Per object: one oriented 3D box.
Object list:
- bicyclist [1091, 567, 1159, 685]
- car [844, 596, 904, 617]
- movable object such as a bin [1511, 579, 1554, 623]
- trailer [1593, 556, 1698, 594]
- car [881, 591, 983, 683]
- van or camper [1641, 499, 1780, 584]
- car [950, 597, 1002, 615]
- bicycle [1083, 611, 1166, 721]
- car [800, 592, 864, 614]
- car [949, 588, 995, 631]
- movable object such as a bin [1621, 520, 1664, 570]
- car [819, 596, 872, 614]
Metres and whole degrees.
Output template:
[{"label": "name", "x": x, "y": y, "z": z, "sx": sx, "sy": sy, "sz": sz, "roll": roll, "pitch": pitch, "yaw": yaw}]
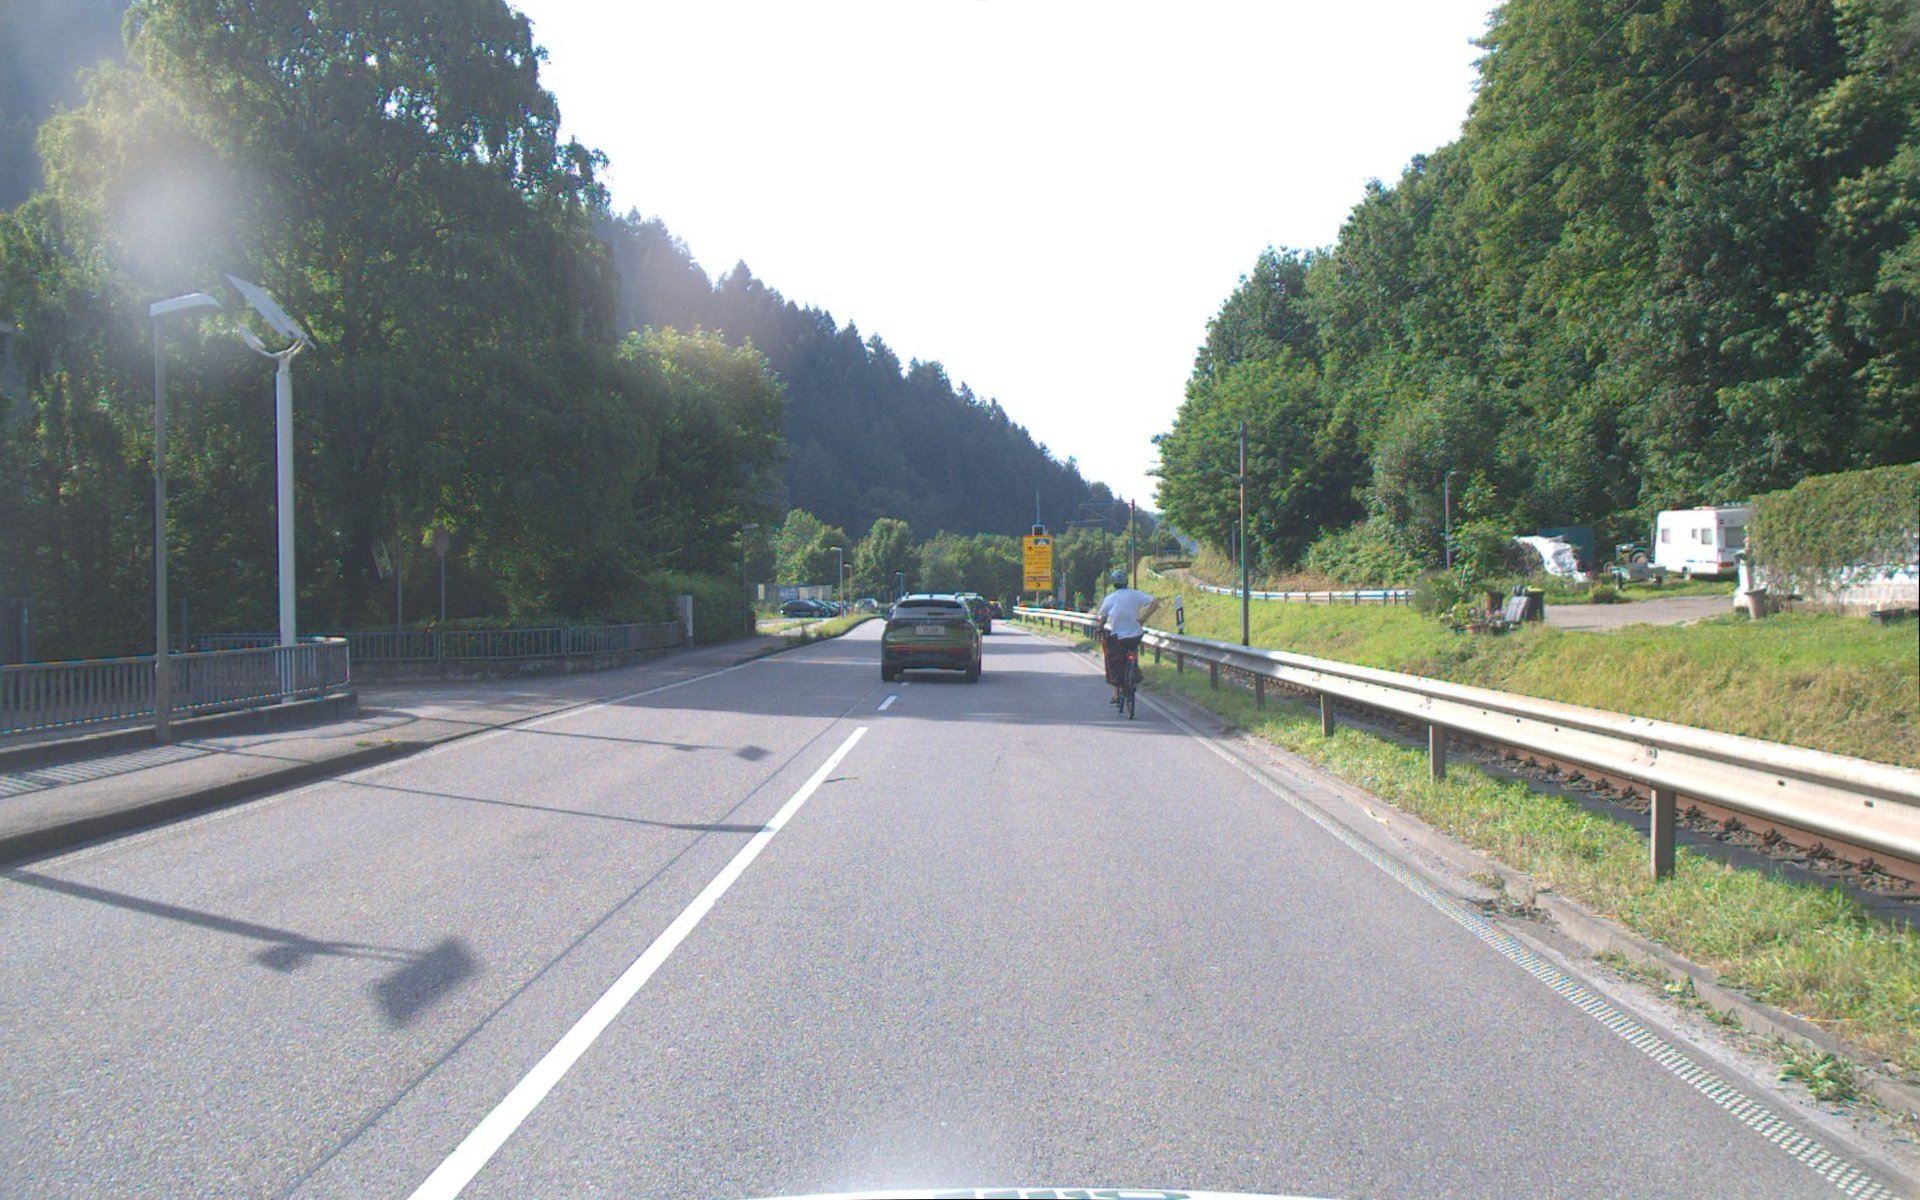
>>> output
[{"label": "bicyclist", "x": 2.046, "y": 0.322, "z": 20.573, "sx": 0.766, "sy": 1.436, "sz": 0.675, "roll": 0, "pitch": 0, "yaw": -1}, {"label": "car", "x": -6.127, "y": 0.429, "z": 117.836, "sx": 4.170, "sy": 1.458, "sz": 1.557, "roll": 0, "pitch": 0, "yaw": 2}, {"label": "movable object such as a bin", "x": 14.654, "y": 0.021, "z": 42.342, "sx": 0.837, "sy": 1.127, "sz": 0.935, "roll": 0, "pitch": 0, "yaw": 7}, {"label": "trailer", "x": 23.395, "y": -0.820, "z": 56.586, "sx": 2.024, "sy": 1.213, "sz": 3.714, "roll": 1, "pitch": 0, "yaw": -1}, {"label": "car", "x": -0.460, "y": 0.607, "z": 29.690, "sx": 1.704, "sy": 1.534, "sz": 4.000, "roll": 0, "pitch": 0, "yaw": 0}, {"label": "van or camper", "x": 25.944, "y": -1.964, "z": 57.462, "sx": 2.147, "sy": 2.688, "sz": 5.772, "roll": 1, "pitch": 0, "yaw": -1}, {"label": "car", "x": 1.299, "y": 0.472, "z": 135.212, "sx": 4.170, "sy": 1.458, "sz": 1.557, "roll": 0, "pitch": 0, "yaw": 2}, {"label": "bicycle", "x": 2.035, "y": 0.795, "z": 20.713, "sx": 0.795, "sy": 1.272, "sz": 2.122, "roll": 0, "pitch": 0, "yaw": -1}, {"label": "car", "x": -8.666, "y": 0.216, "z": 112.333, "sx": 4.170, "sy": 1.458, "sz": 1.557, "roll": 0, "pitch": 0, "yaw": 2}, {"label": "car", "x": 0.452, "y": 0.349, "z": 63.902, "sx": 1.704, "sy": 1.630, "sz": 4.000, "roll": 0, "pitch": 0, "yaw": 0}, {"label": "movable object such as a bin", "x": 25.849, "y": -2.071, "z": 62.653, "sx": 0.848, "sy": 1.833, "sz": 1.797, "roll": 0, "pitch": 0, "yaw": -1}, {"label": "car", "x": -9.202, "y": 0.386, "z": 133.200, "sx": 4.170, "sy": 1.458, "sz": 1.557, "roll": 0, "pitch": 0, "yaw": 2}]
